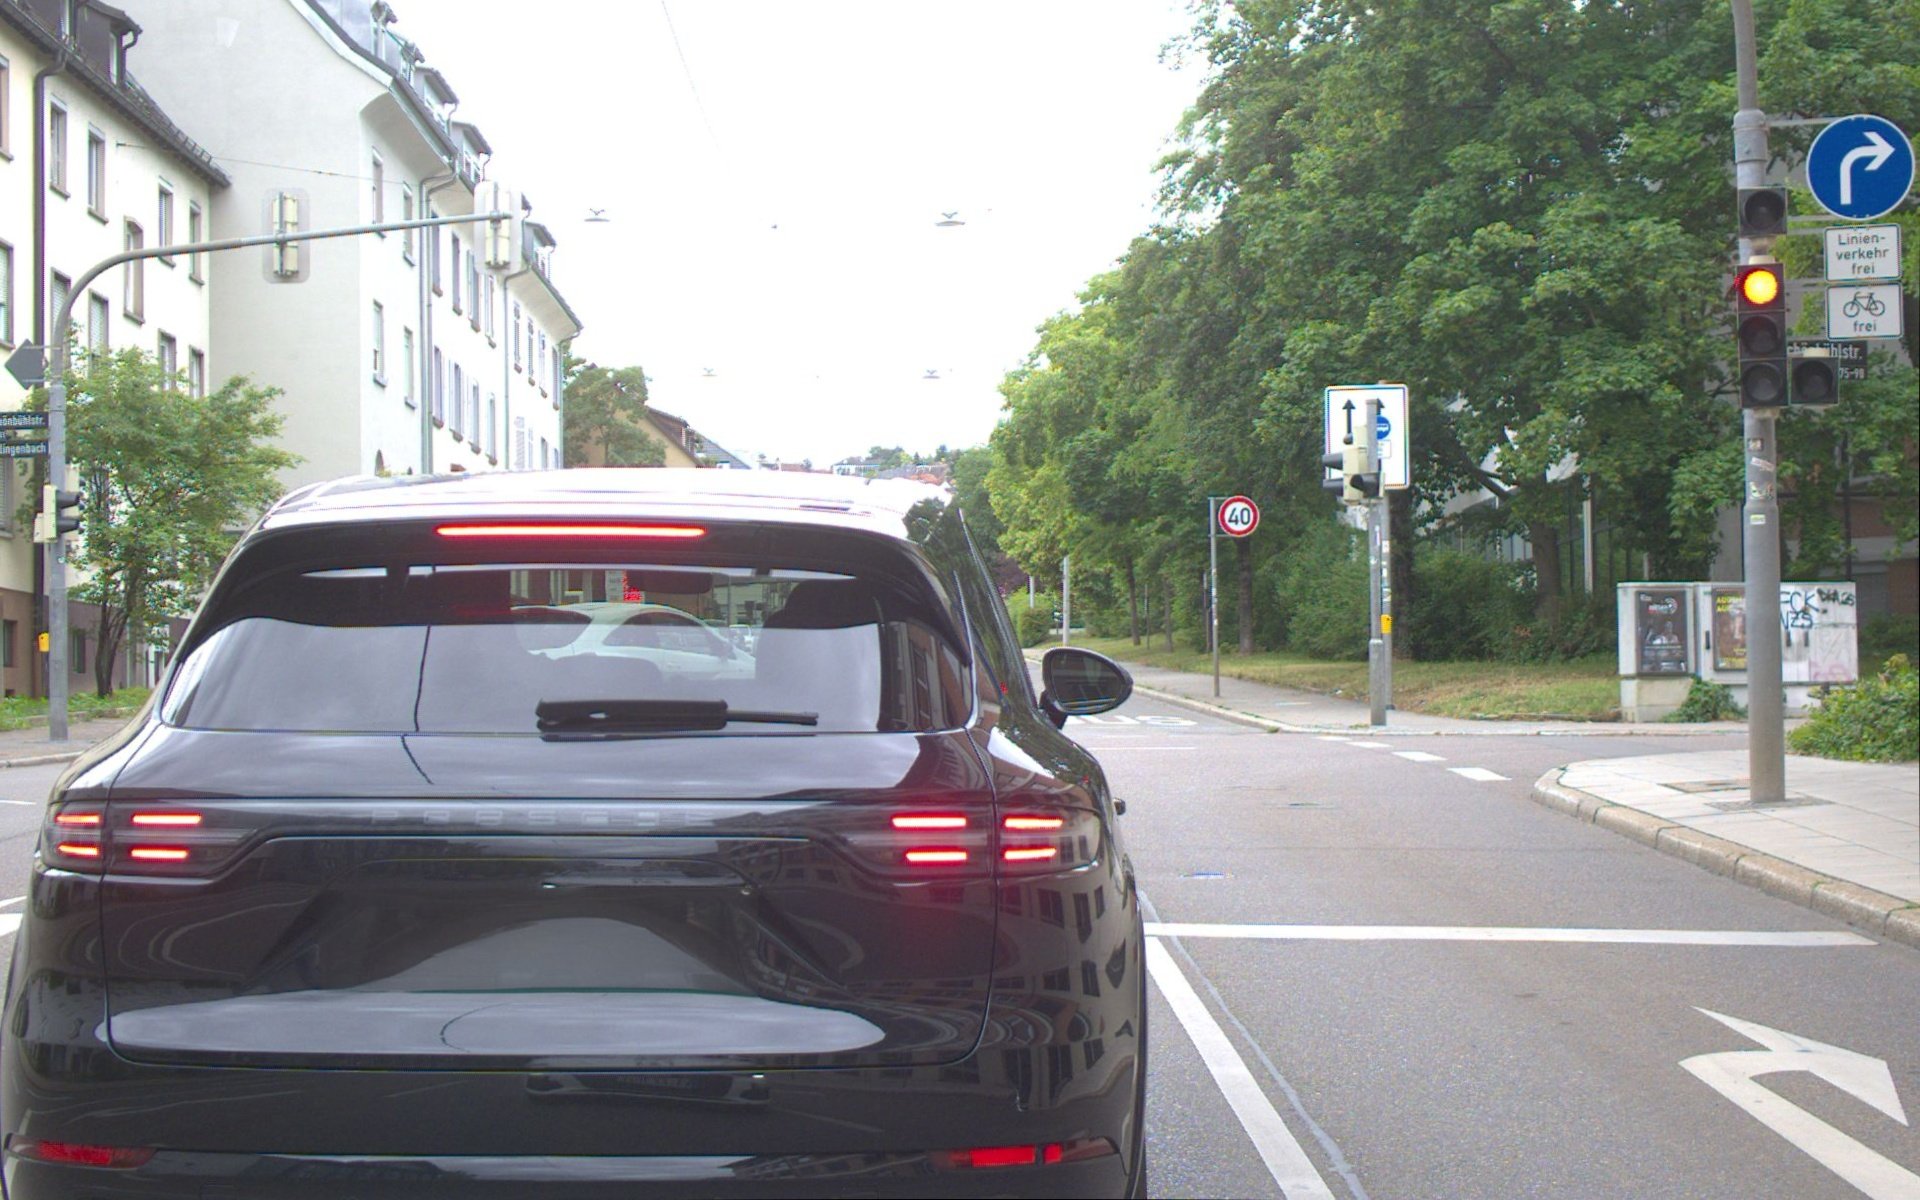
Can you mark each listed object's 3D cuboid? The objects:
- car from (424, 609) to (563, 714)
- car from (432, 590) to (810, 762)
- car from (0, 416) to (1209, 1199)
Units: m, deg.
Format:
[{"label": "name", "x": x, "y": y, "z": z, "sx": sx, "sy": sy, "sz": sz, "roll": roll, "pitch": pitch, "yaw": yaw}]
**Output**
[{"label": "car", "x": -7.614, "y": 0.975, "z": 56.420, "sx": 1.664, "sy": 1.514, "sz": 3.740, "roll": -4, "pitch": 0, "yaw": 0}, {"label": "car", "x": -3.243, "y": 0.692, "z": 33.566, "sx": 1.691, "sy": 1.547, "sz": 3.882, "roll": 1, "pitch": 1, "yaw": 30}, {"label": "car", "x": -0.658, "y": 0.561, "z": 7.138, "sx": 1.993, "sy": 1.691, "sz": 4.000, "roll": 1, "pitch": 1, "yaw": -1}]
